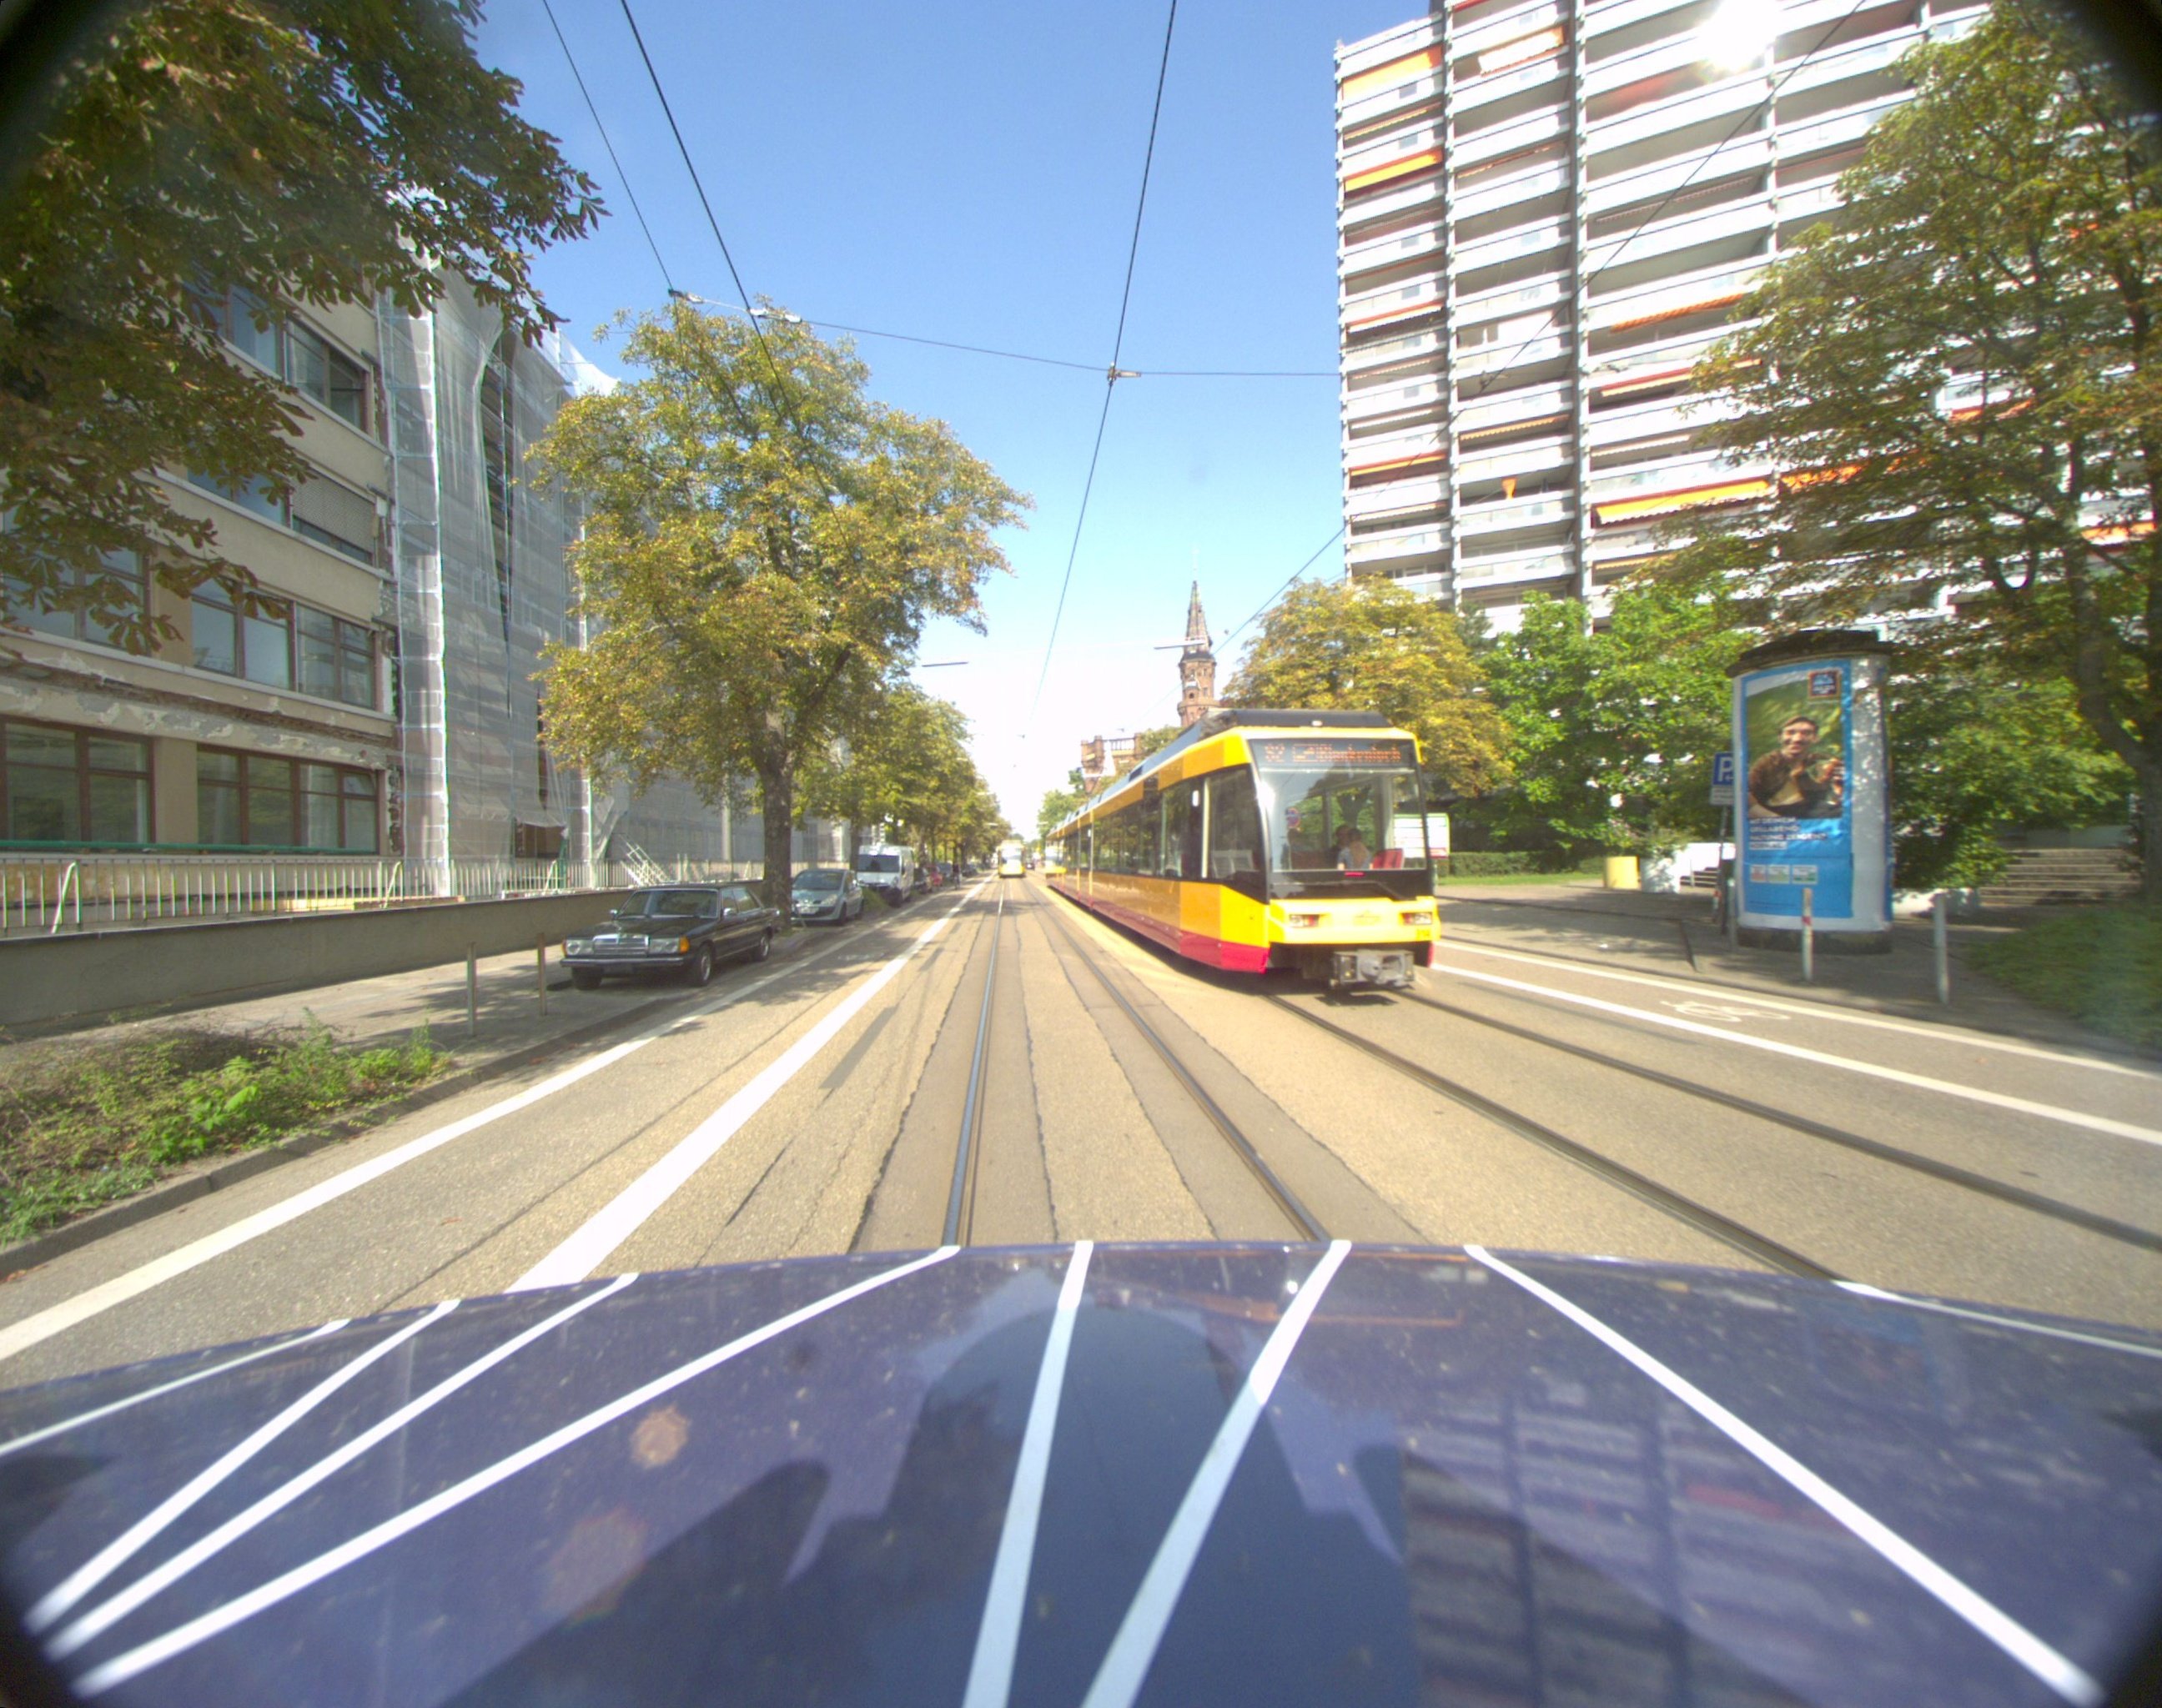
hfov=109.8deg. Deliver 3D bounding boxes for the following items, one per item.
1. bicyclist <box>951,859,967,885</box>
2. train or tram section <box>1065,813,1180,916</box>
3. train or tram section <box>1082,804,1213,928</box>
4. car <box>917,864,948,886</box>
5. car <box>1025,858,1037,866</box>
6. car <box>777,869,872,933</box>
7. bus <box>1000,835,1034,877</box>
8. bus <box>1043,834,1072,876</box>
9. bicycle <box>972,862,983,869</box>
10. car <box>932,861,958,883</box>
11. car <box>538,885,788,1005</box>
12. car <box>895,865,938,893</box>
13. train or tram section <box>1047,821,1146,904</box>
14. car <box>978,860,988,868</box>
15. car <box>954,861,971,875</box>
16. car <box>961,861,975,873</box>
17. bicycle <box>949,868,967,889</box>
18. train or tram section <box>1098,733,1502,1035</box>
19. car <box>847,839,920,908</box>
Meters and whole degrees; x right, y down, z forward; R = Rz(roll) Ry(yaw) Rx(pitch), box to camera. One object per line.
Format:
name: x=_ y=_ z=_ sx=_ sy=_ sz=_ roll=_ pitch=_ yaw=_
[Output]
bicyclist: x=-7.227 y=1.068 z=45.097 sx=0.789 sy=1.461 sz=1.115 roll=-2 pitch=0 yaw=-4
train or tram section: x=1.113 y=0.291 z=24.757 sx=2.737 sy=2.833 sz=6.540 roll=-1 pitch=0 yaw=-5
train or tram section: x=1.582 y=0.276 z=19.674 sx=2.714 sy=2.840 sz=3.647 roll=-1 pitch=0 yaw=-5
car: x=-10.108 y=1.384 z=51.885 sx=1.621 sy=1.405 sz=3.998 roll=-1 pitch=0 yaw=-5
car: x=-8.644 y=1.336 z=131.043 sx=1.834 sy=1.368 sz=4.510 roll=0 pitch=0 yaw=-6
car: x=-7.192 y=1.257 z=21.669 sx=1.669 sy=1.607 sz=3.875 roll=0 pitch=-1 yaw=-5
bus: x=-6.153 y=0.166 z=73.929 sx=2.902 sy=3.771 sz=9.316 roll=-2 pitch=0 yaw=-3
bus: x=-2.335 y=0.114 z=74.057 sx=2.477 sy=3.767 sz=9.127 roll=-2 pitch=0 yaw=-3
bicycle: x=-17.376 y=1.944 z=127.928 sx=1.774 sy=1.057 sz=0.796 roll=0 pitch=0 yaw=-7
car: x=-11.081 y=1.481 z=62.189 sx=1.759 sy=1.681 sz=4.394 roll=-2 pitch=0 yaw=-7
car: x=-6.279 y=1.261 z=12.144 sx=1.759 sy=1.369 sz=4.716 roll=0 pitch=0 yaw=-5
car: x=-8.935 y=1.344 z=41.555 sx=1.621 sy=1.366 sz=4.825 roll=-1 pitch=0 yaw=-5
train or tram section: x=0.207 y=0.320 z=34.638 sx=2.737 sy=2.877 sz=15.446 roll=-1 pitch=0 yaw=-5
car: x=-18.769 y=1.898 z=145.802 sx=1.746 sy=1.477 sz=4.435 roll=0 pitch=-1 yaw=-7
car: x=-13.222 y=1.590 z=84.941 sx=1.651 sy=1.502 sz=3.776 roll=0 pitch=0 yaw=-5
car: x=-14.404 y=1.624 z=97.229 sx=1.651 sy=1.420 sz=4.082 roll=0 pitch=0 yaw=-6
bicycle: x=-7.176 y=1.392 z=44.490 sx=0.789 sy=1.138 sz=2.304 roll=-2 pitch=0 yaw=-3
train or tram section: x=2.269 y=0.271 z=12.585 sx=2.688 sy=2.845 sz=10.538 roll=-1 pitch=0 yaw=-6
car: x=-8.012 y=0.765 z=31.303 sx=2.089 sy=2.537 sz=5.498 roll=2 pitch=0 yaw=-7
